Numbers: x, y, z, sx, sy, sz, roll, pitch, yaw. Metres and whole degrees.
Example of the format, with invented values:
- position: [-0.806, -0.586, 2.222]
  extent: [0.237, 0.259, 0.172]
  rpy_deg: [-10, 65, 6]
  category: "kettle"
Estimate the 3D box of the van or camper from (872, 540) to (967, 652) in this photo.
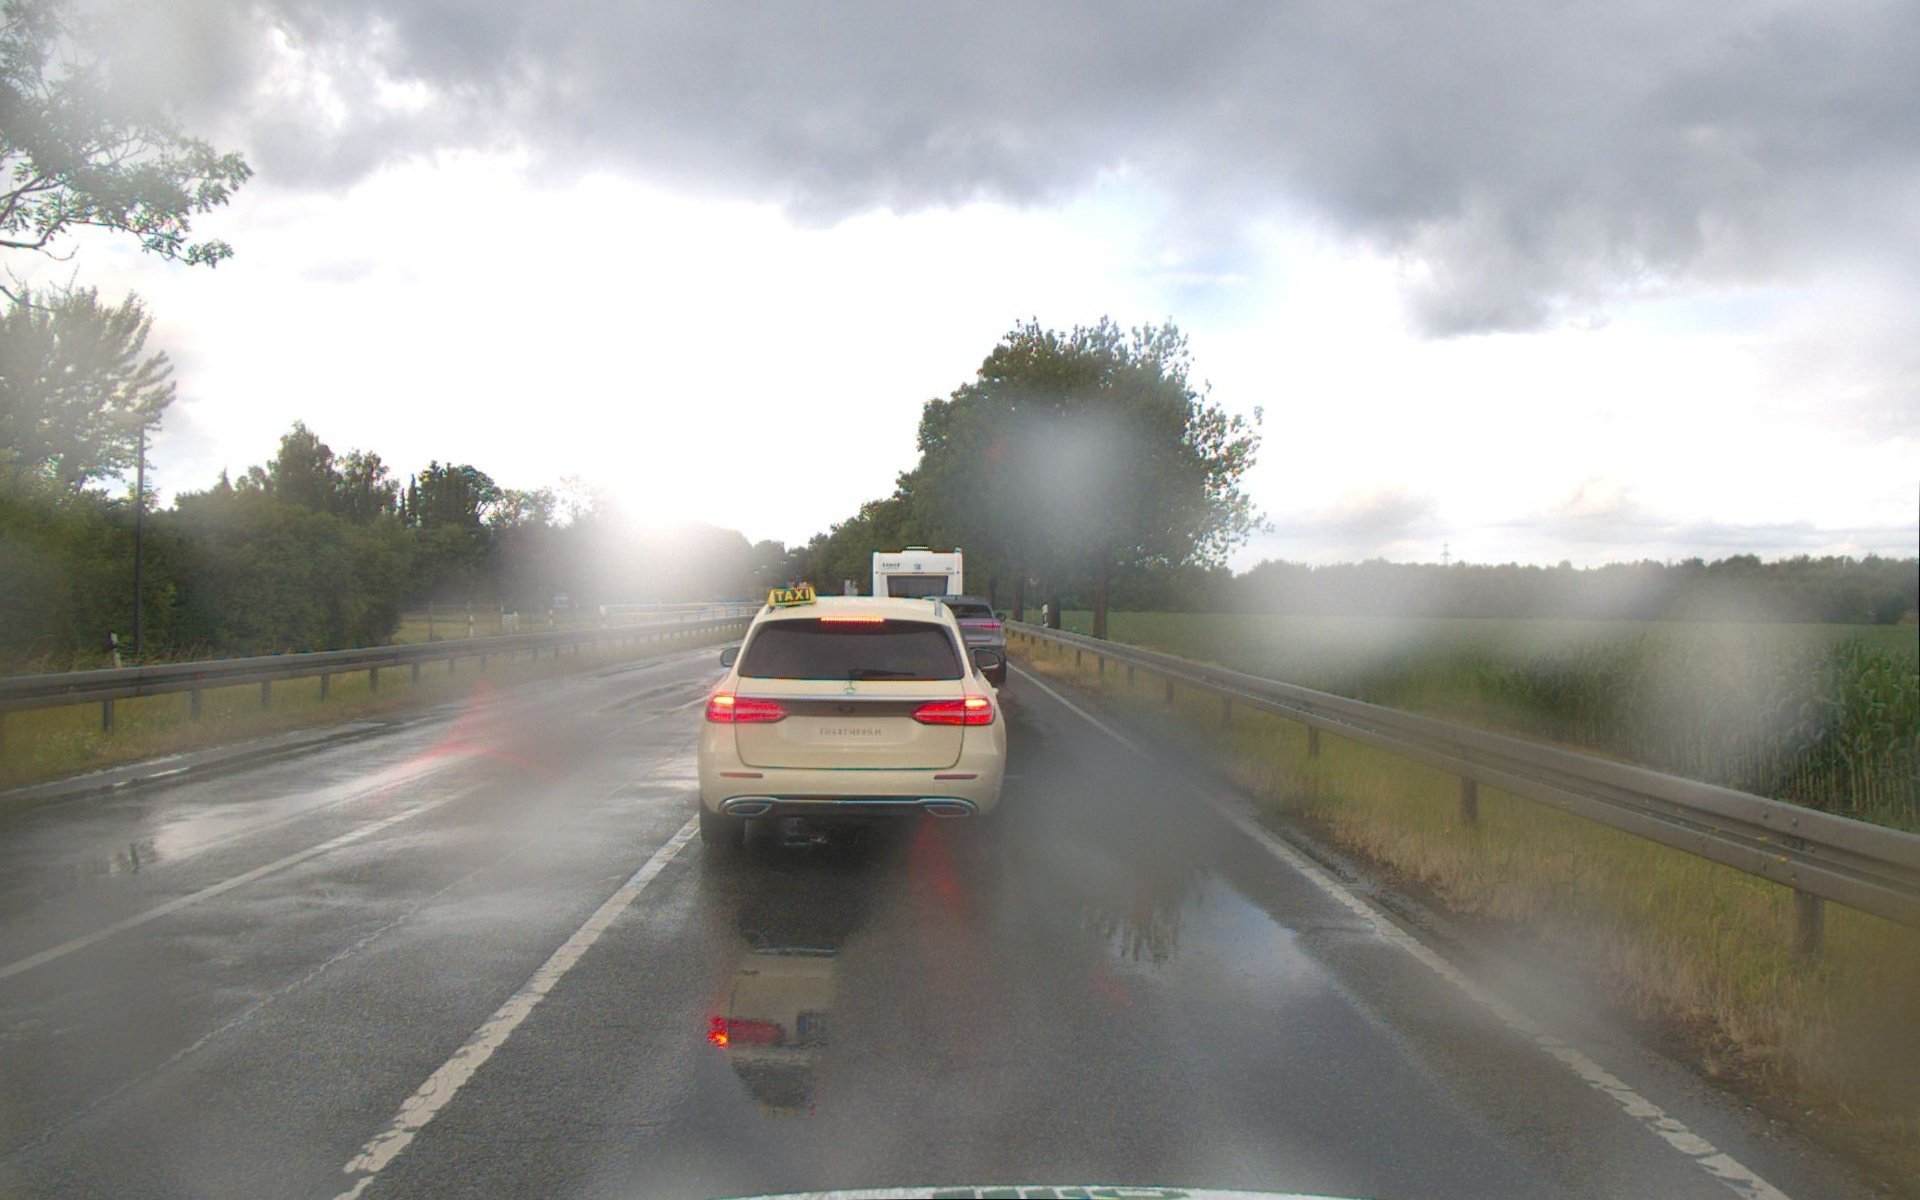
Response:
- position: [-1.039, -0.118, 43.434]
  extent: [2.303, 2.727, 5.767]
  rpy_deg: [1, 0, -1]
  category: "van or camper"

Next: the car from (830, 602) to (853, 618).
- position: [-9.840, 0.797, 137.708]
  extent: [1.723, 1.291, 3.999]
  rpy_deg: [0, 0, -1]
  category: "car"

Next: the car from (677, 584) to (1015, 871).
- position: [-0.597, 0.678, 10.876]
  extent: [1.787, 1.511, 4.145]
  rpy_deg: [0, 0, 0]
  category: "car"

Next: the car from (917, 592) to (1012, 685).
- position: [0.044, 0.643, 29.869]
  extent: [1.594, 1.556, 3.932]
  rpy_deg: [0, 0, -1]
  category: "car"
